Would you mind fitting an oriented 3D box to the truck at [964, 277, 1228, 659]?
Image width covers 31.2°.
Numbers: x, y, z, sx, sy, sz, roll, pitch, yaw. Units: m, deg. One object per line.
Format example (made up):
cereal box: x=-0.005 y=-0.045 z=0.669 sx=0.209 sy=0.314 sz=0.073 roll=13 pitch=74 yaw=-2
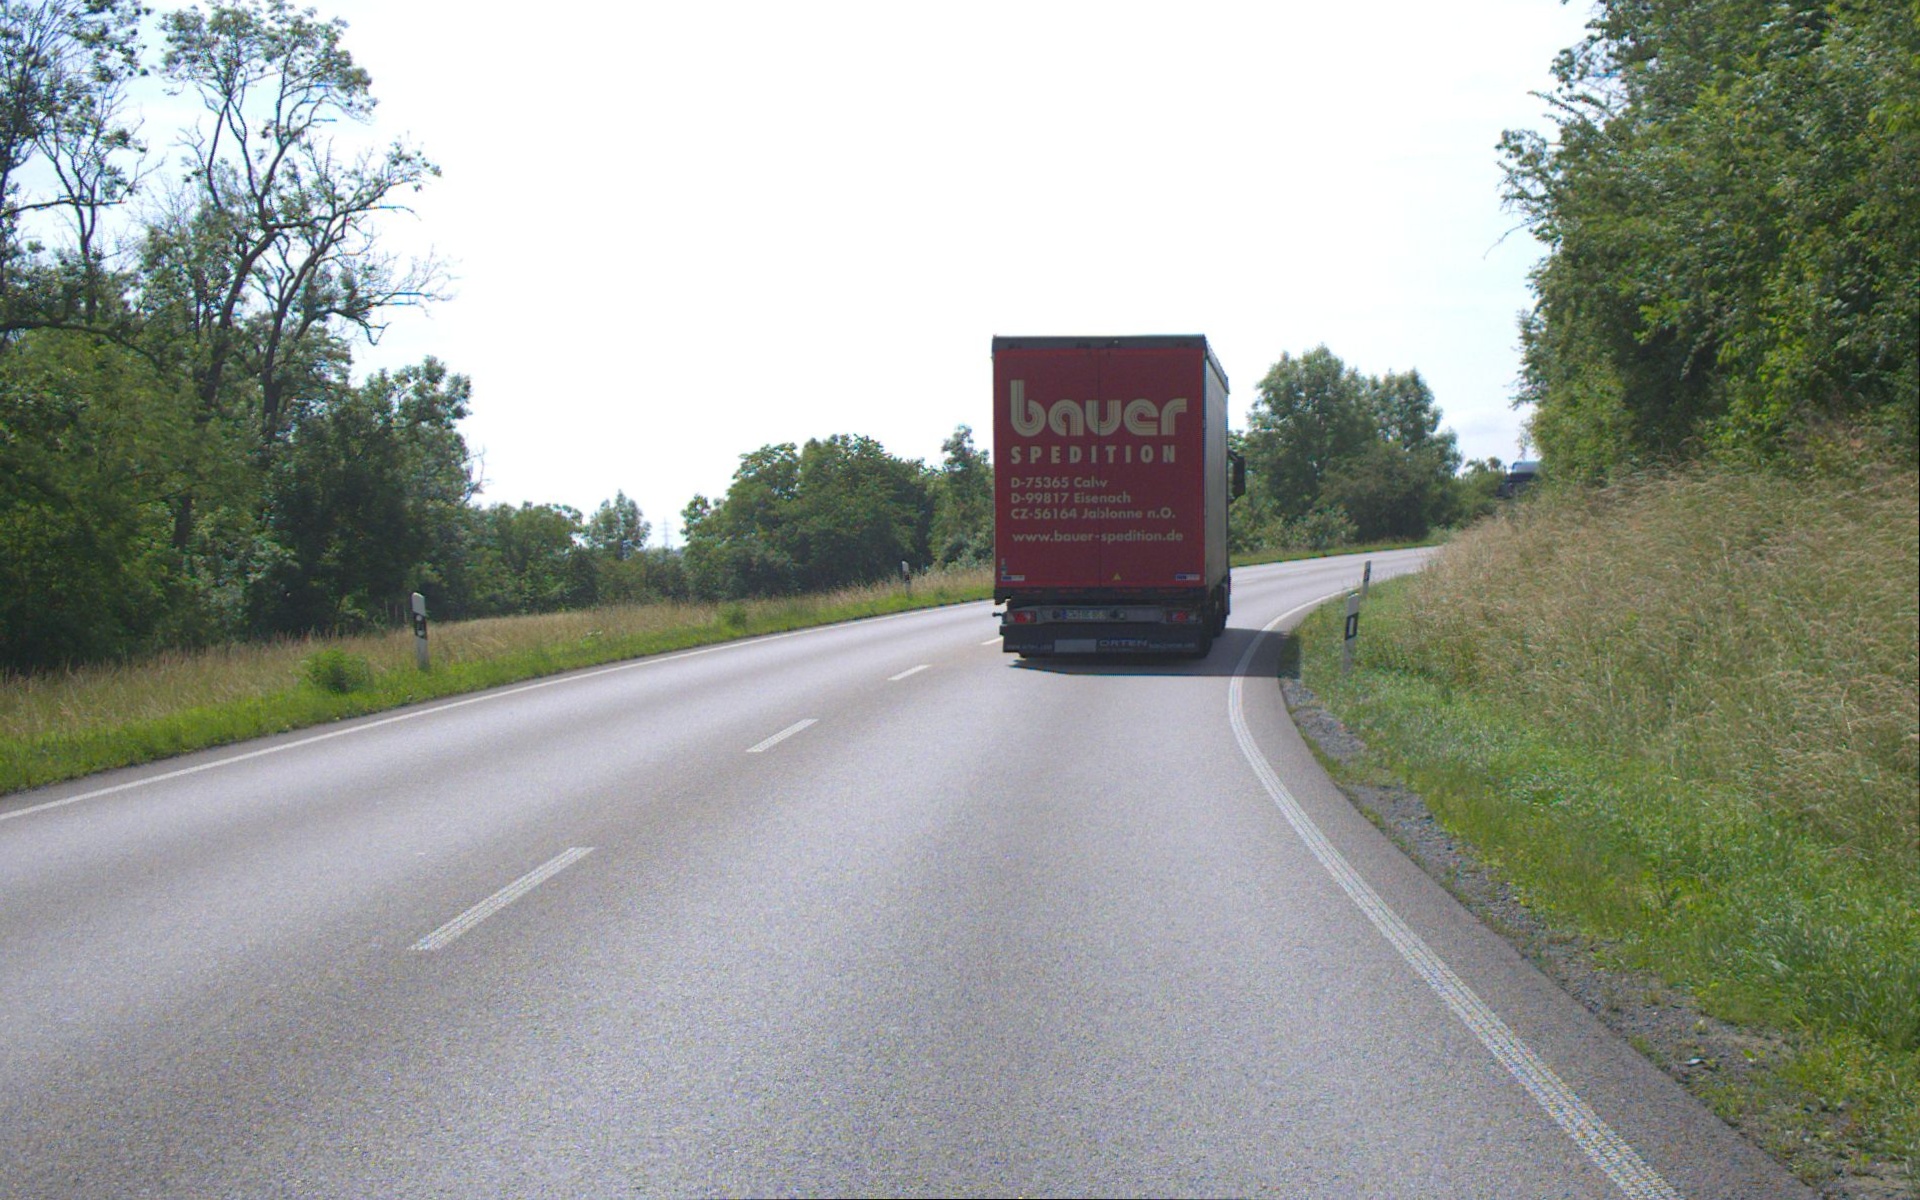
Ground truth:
truck: x=1.961 y=-1.684 z=46.602 sx=3.112 sy=4.490 sz=12.167 roll=0 pitch=1 yaw=3
